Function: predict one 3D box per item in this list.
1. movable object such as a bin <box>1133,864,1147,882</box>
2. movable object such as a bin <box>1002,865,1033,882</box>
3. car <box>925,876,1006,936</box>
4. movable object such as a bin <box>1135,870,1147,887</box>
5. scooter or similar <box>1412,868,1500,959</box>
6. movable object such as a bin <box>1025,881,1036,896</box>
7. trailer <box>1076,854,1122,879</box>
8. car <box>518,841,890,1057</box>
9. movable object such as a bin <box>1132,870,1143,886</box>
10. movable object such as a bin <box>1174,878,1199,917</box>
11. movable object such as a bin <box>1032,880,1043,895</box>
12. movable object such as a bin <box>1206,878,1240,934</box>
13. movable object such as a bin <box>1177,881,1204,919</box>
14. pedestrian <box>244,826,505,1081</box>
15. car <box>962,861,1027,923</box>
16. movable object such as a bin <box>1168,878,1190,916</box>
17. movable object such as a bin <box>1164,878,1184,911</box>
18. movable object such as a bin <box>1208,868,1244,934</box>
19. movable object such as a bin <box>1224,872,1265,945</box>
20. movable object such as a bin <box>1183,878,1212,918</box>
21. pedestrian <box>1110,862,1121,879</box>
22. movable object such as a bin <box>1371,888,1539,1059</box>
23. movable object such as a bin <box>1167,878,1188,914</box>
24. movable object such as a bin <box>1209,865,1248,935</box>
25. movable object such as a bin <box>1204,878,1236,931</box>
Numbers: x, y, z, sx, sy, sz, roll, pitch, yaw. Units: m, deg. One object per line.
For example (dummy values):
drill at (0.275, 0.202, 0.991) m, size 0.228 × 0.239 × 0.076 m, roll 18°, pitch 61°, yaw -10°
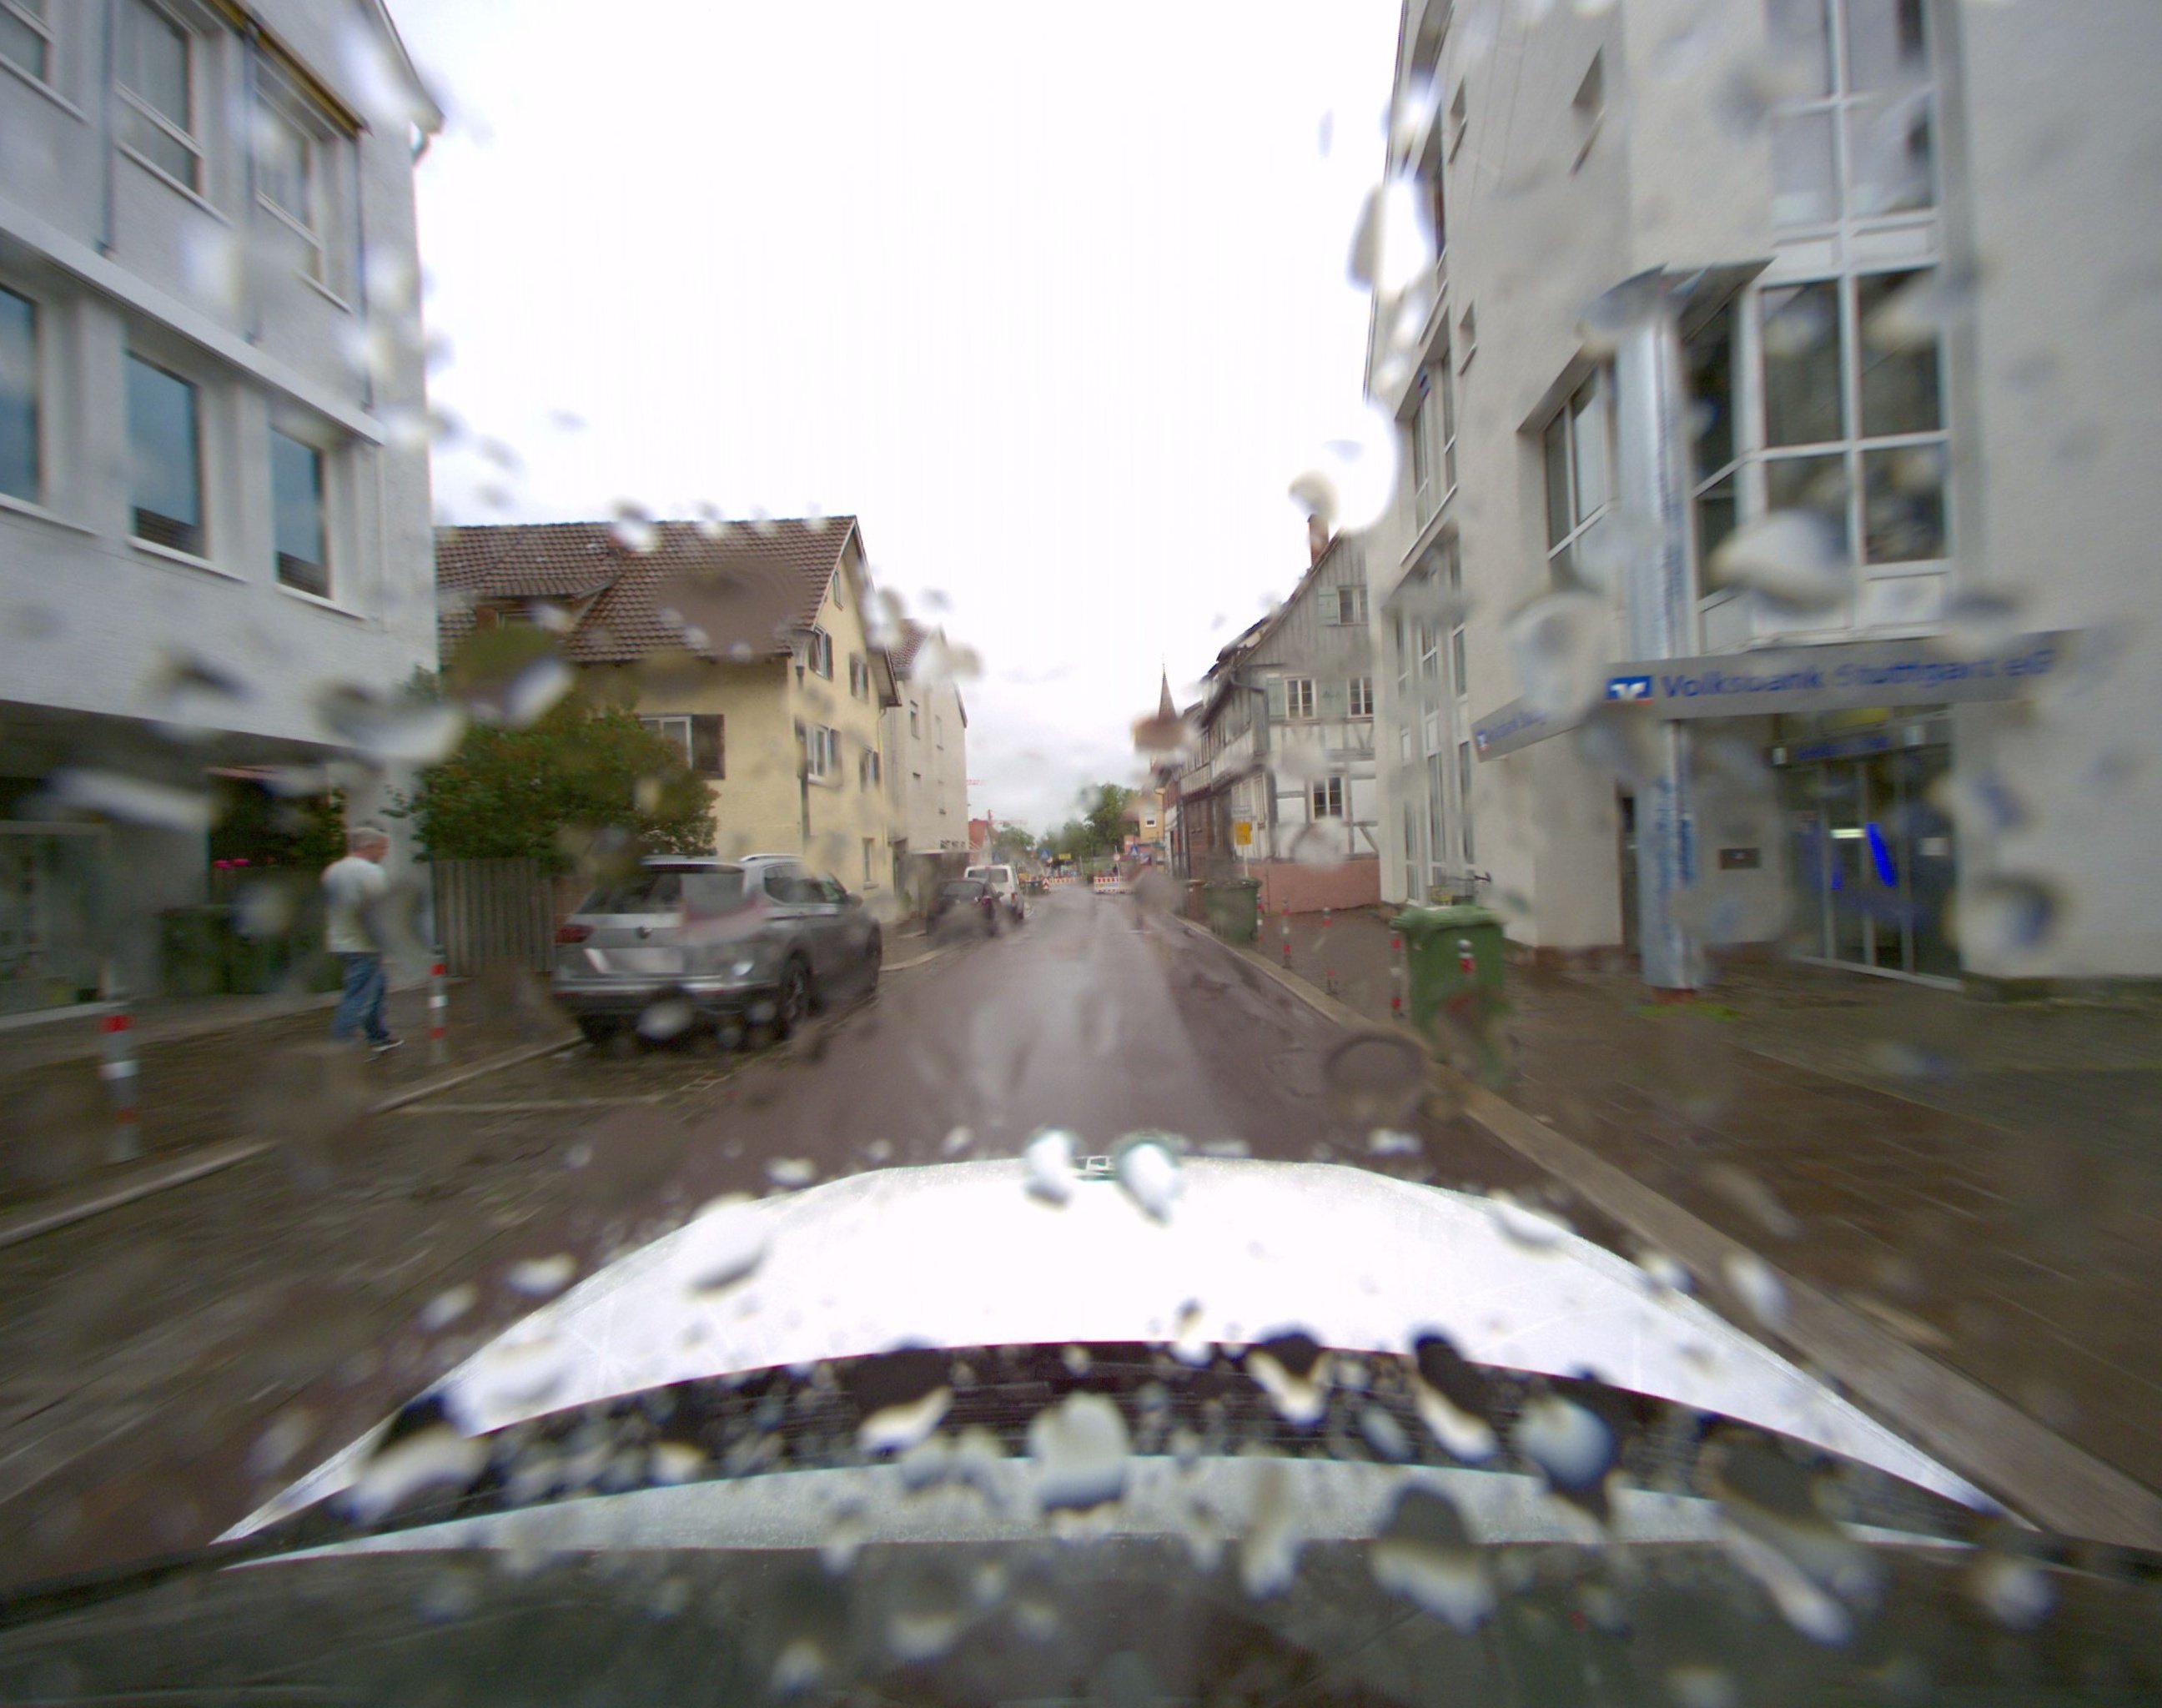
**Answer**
movable object such as a bin at (5.378, 1.718, 74.043) m, size 1.059 × 1.512 × 1.245 m, roll -6°, pitch -1°, yaw 8°
movable object such as a bin at (-8.011, 2.498, 103.209) m, size 3.389 × 2.014 × 3.480 m, roll -2°, pitch -2°, yaw 2°
car at (-2.968, 1.301, 21.610) m, size 1.677 × 1.389 × 3.822 m, roll -2°, pitch -2°, yaw -2°
movable object such as a bin at (4.094, 1.696, 55.966) m, size 0.678 × 1.065 × 0.538 m, roll -4°, pitch 3°, yaw -7°
scooter or similar at (5.106, 0.784, 11.185) m, size 0.661 × 1.146 × 1.449 m, roll -2°, pitch -2°, yaw 8°
movable object such as a bin at (-3.605, 2.457, 58.131) m, size 0.535 × 1.037 × 0.576 m, roll -6°, pitch -4°, yaw 34°
trailer at (2.299, 1.594, 104.813) m, size 5.770 × 2.948 × 1.997 m, roll -2°, pitch -2°, yaw -5°
car at (-3.377, 0.776, 8.389) m, size 1.774 × 1.569 × 4.406 m, roll -2°, pitch -2°, yaw -1°
movable object such as a bin at (3.921, 1.675, 56.588) m, size 0.611 × 1.066 × 0.542 m, roll -5°, pitch -2°, yaw 17°
movable object such as a bin at (3.261, 1.338, 25.099) m, size 0.636 × 1.147 × 0.632 m, roll -2°, pitch -2°, yaw -1°
movable object such as a bin at (-3.083, 2.399, 57.784) m, size 0.538 × 1.033 × 0.538 m, roll -6°, pitch -4°, yaw 34°
movable object such as a bin at (2.995, 1.089, 17.214) m, size 0.613 × 1.131 × 0.633 m, roll -2°, pitch -2°, yaw 6°
movable object such as a bin at (3.269, 1.375, 24.447) m, size 0.667 × 1.081 × 0.587 m, roll -3°, pitch -2°, yaw -1°
pedestrian at (-5.483, 0.715, 6.419) m, size 1.031 × 1.806 × 1.116 m, roll -1°, pitch 0°, yaw 1°
car at (-2.820, 1.230, 27.353) m, size 1.718 × 1.825 × 4.425 m, roll -2°, pitch -2°, yaw -1°
movable object such as a bin at (3.111, 1.352, 25.771) m, size 0.635 × 1.147 × 0.604 m, roll -2°, pitch -2°, yaw 6°
movable object such as a bin at (3.279, 1.421, 28.733) m, size 0.607 × 1.128 × 0.599 m, roll -2°, pitch -2°, yaw 1°
movable object such as a bin at (2.929, 0.939, 16.513) m, size 0.635 × 1.290 × 0.633 m, roll -2°, pitch -2°, yaw 6°
movable object such as a bin at (2.997, 0.984, 14.961) m, size 0.635 × 1.290 × 0.633 m, roll -2°, pitch -2°, yaw 6°
movable object such as a bin at (3.319, 1.237, 23.162) m, size 0.676 × 1.096 × 0.650 m, roll -1°, pitch -1°, yaw -3°
pedestrian at (3.559, 1.712, 83.578) m, size 0.988 × 1.759 × 0.850 m, roll -2°, pitch -2°, yaw -5°
movable object such as a bin at (2.732, 0.837, 6.047) m, size 0.801 × 1.131 × 0.862 m, roll -2°, pitch -2°, yaw -1°
movable object such as a bin at (3.118, 1.361, 26.390) m, size 0.635 × 1.147 × 0.581 m, roll -2°, pitch -2°, yaw 6°
movable object such as a bin at (2.849, 0.880, 15.778) m, size 0.635 × 1.290 × 0.633 m, roll -2°, pitch -2°, yaw 6°
movable object such as a bin at (3.038, 1.099, 17.883) m, size 0.613 × 1.131 × 0.633 m, roll -2°, pitch -2°, yaw 6°
